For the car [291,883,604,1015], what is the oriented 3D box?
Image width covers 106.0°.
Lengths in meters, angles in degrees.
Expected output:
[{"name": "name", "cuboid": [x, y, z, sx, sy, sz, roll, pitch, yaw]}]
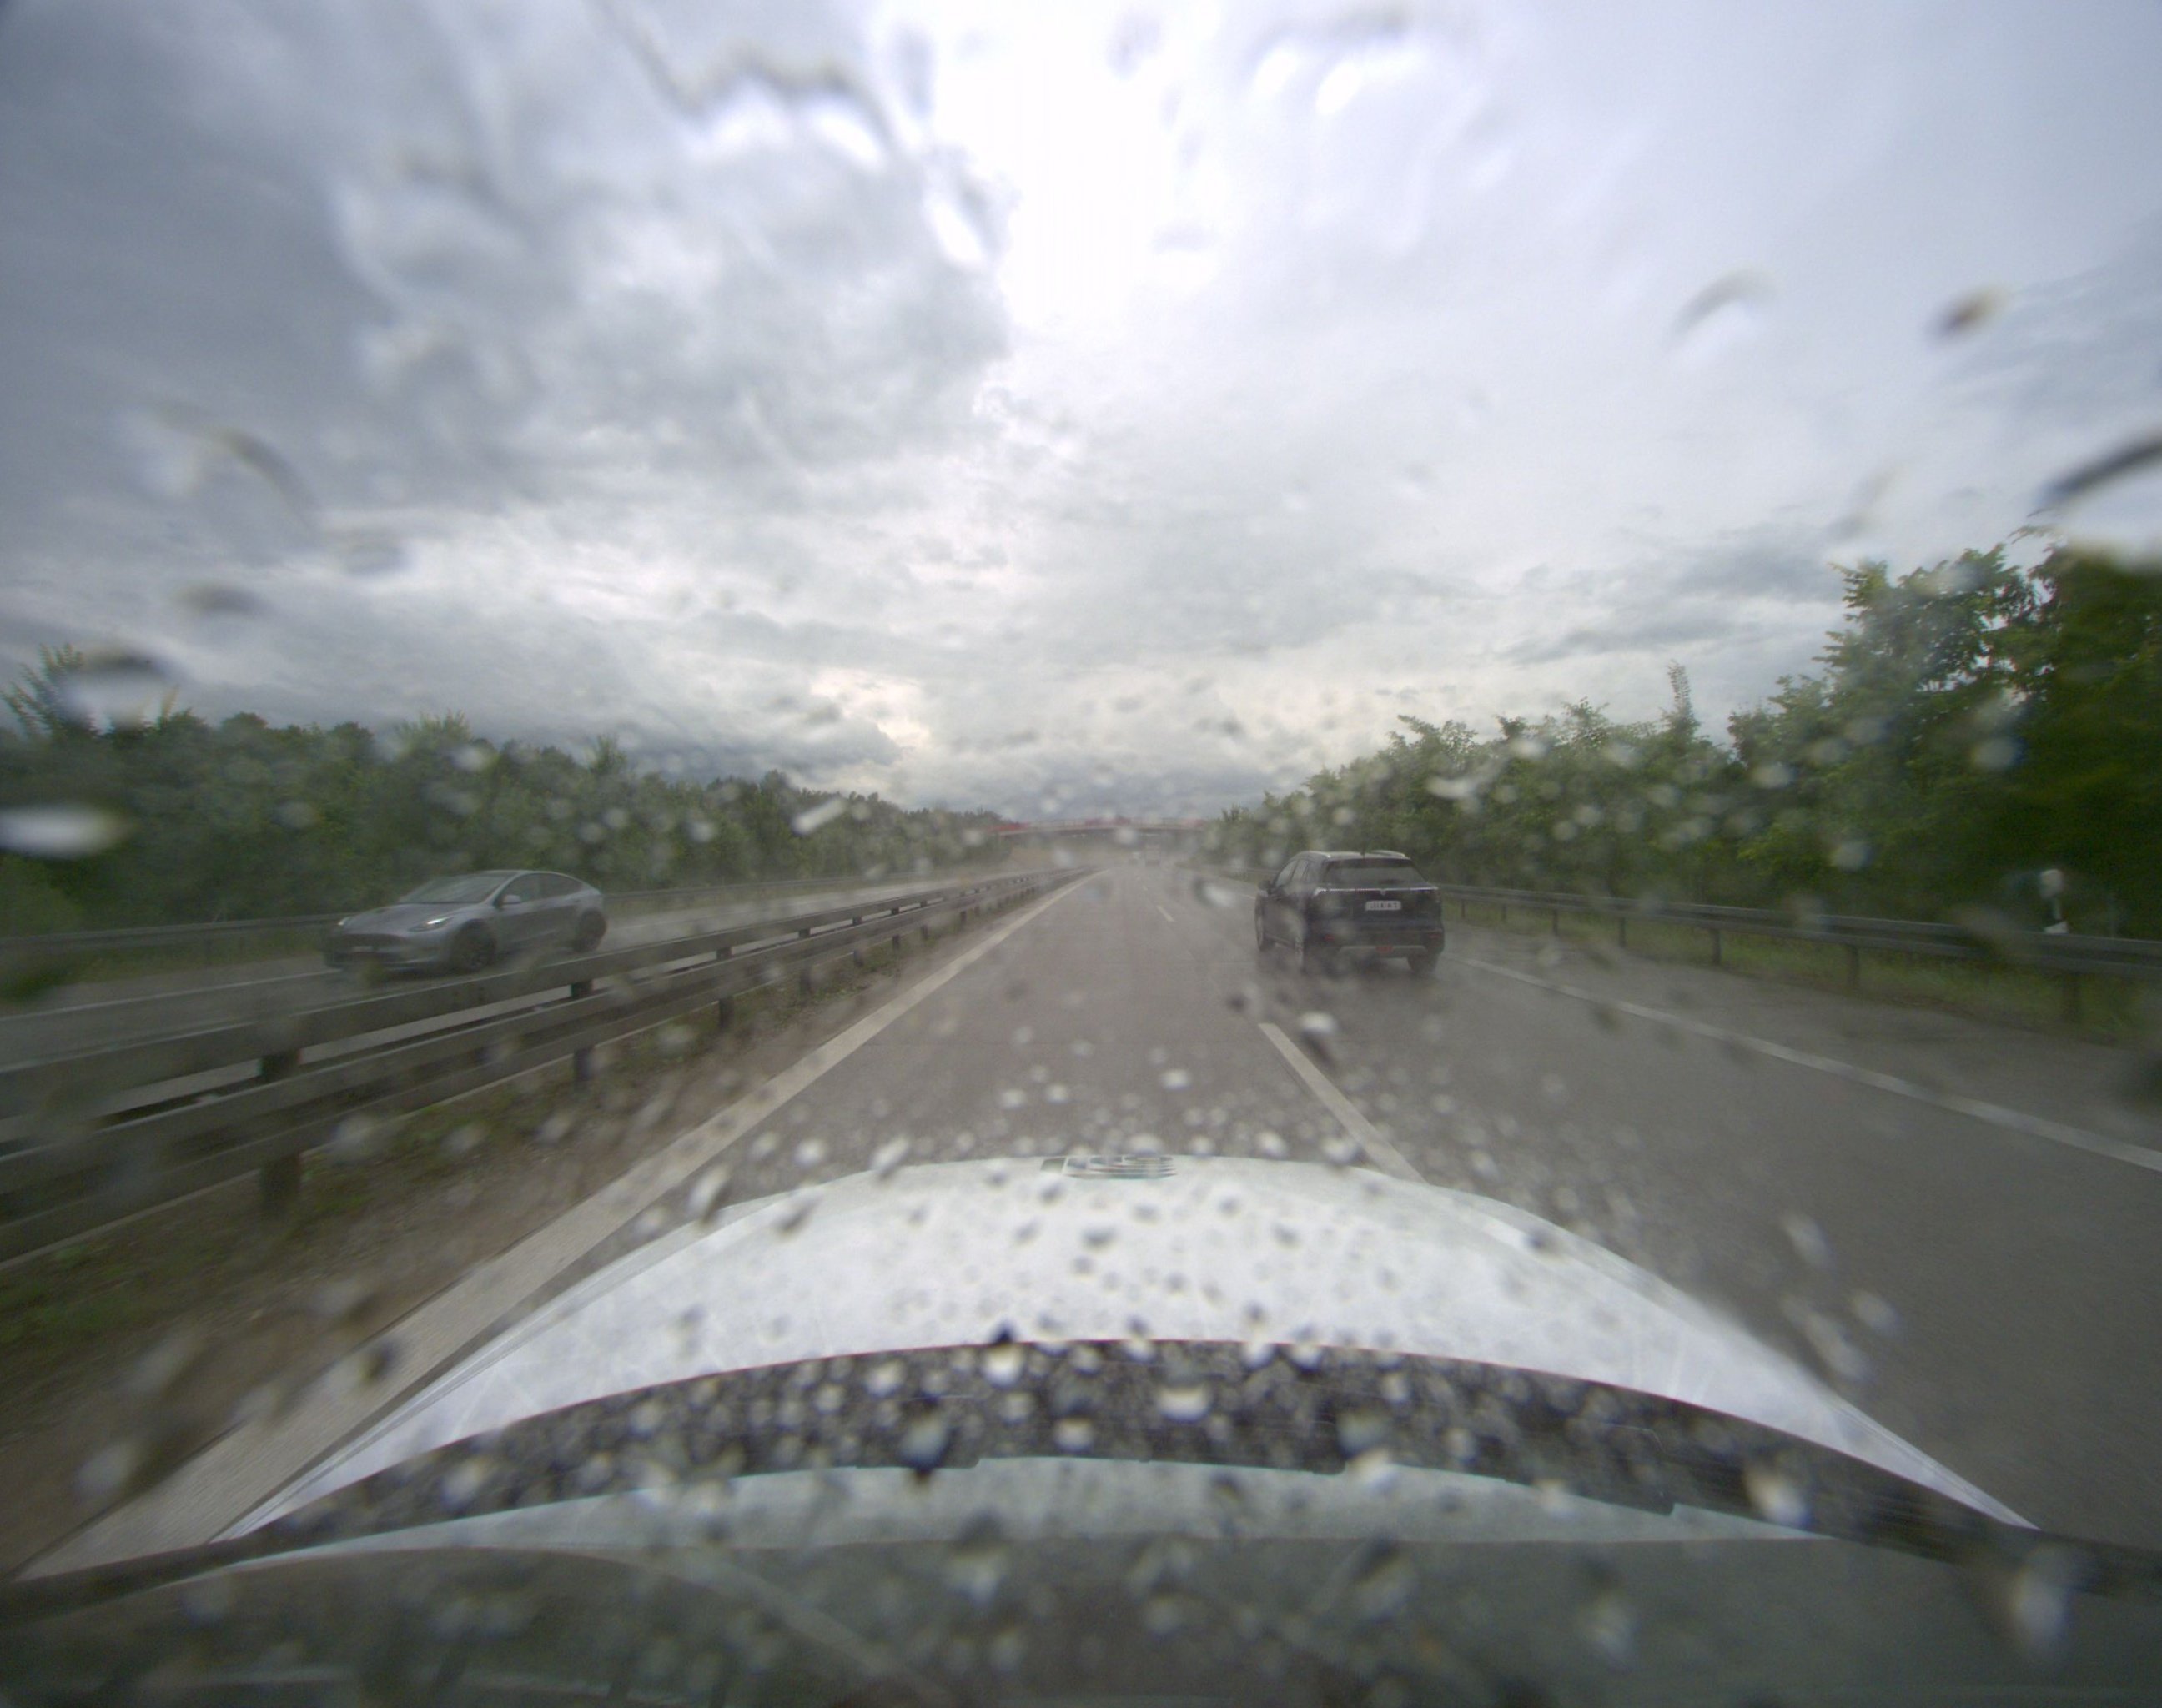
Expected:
[{"name": "car", "cuboid": [-10.356, 1.450, 13.808, 1.986, 1.582, 4.002, -3, 1, 1]}]

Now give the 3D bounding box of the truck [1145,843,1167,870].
[{"name": "truck", "cuboid": [12.860, 0.410, 139.127, 3.224, 4.437, 8.267, -1, 0, 9]}]

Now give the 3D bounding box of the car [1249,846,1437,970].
[{"name": "car", "cuboid": [3.736, 0.706, 12.281, 1.885, 1.576, 3.636, -1, 0, 4]}]
